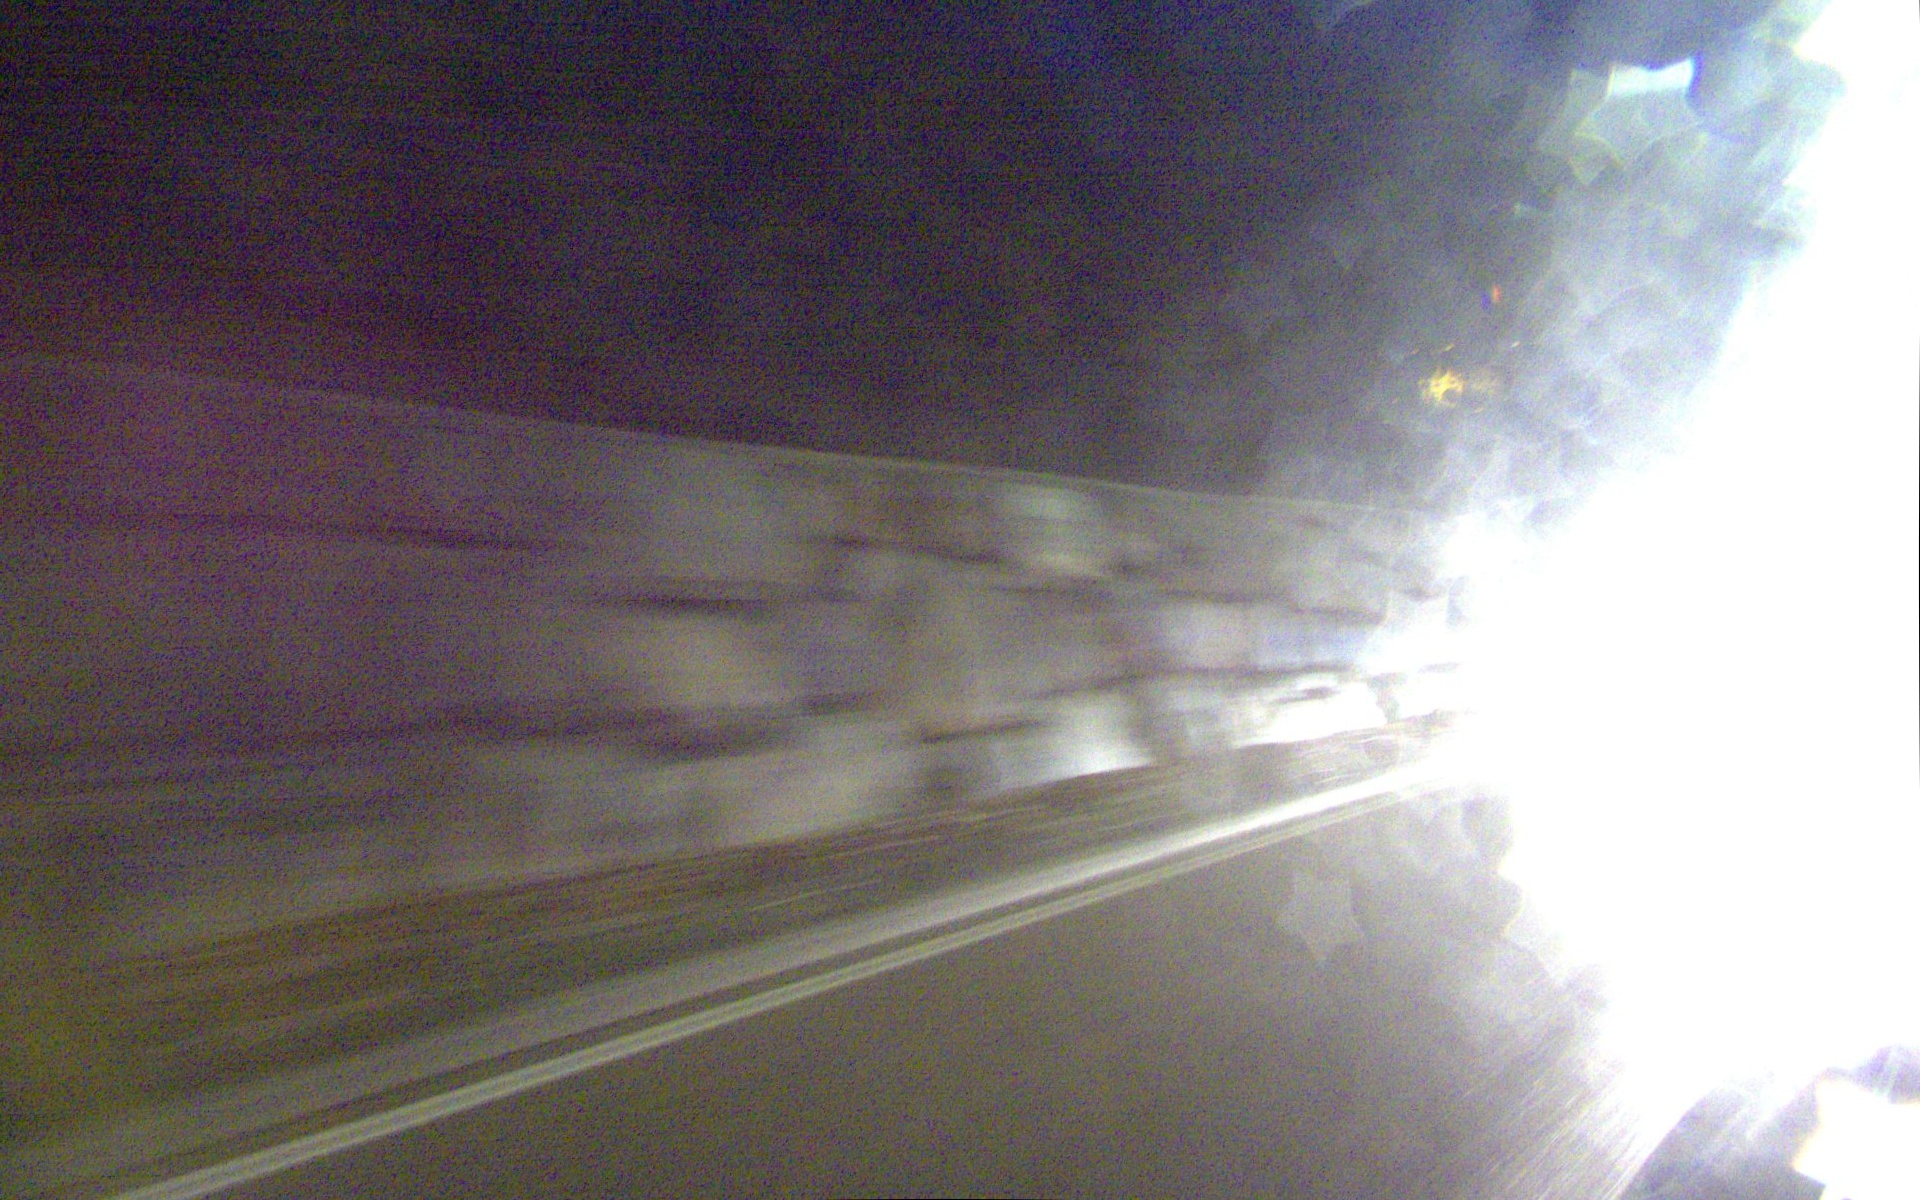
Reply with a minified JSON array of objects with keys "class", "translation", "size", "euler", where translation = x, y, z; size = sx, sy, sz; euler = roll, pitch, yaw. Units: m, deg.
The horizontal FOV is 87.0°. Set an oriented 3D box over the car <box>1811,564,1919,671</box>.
[{"class":"car","translation":[16.024,0.223,17.069],"size":[4.805,1.608,1.876],"euler":[-1,0,-42]}]
